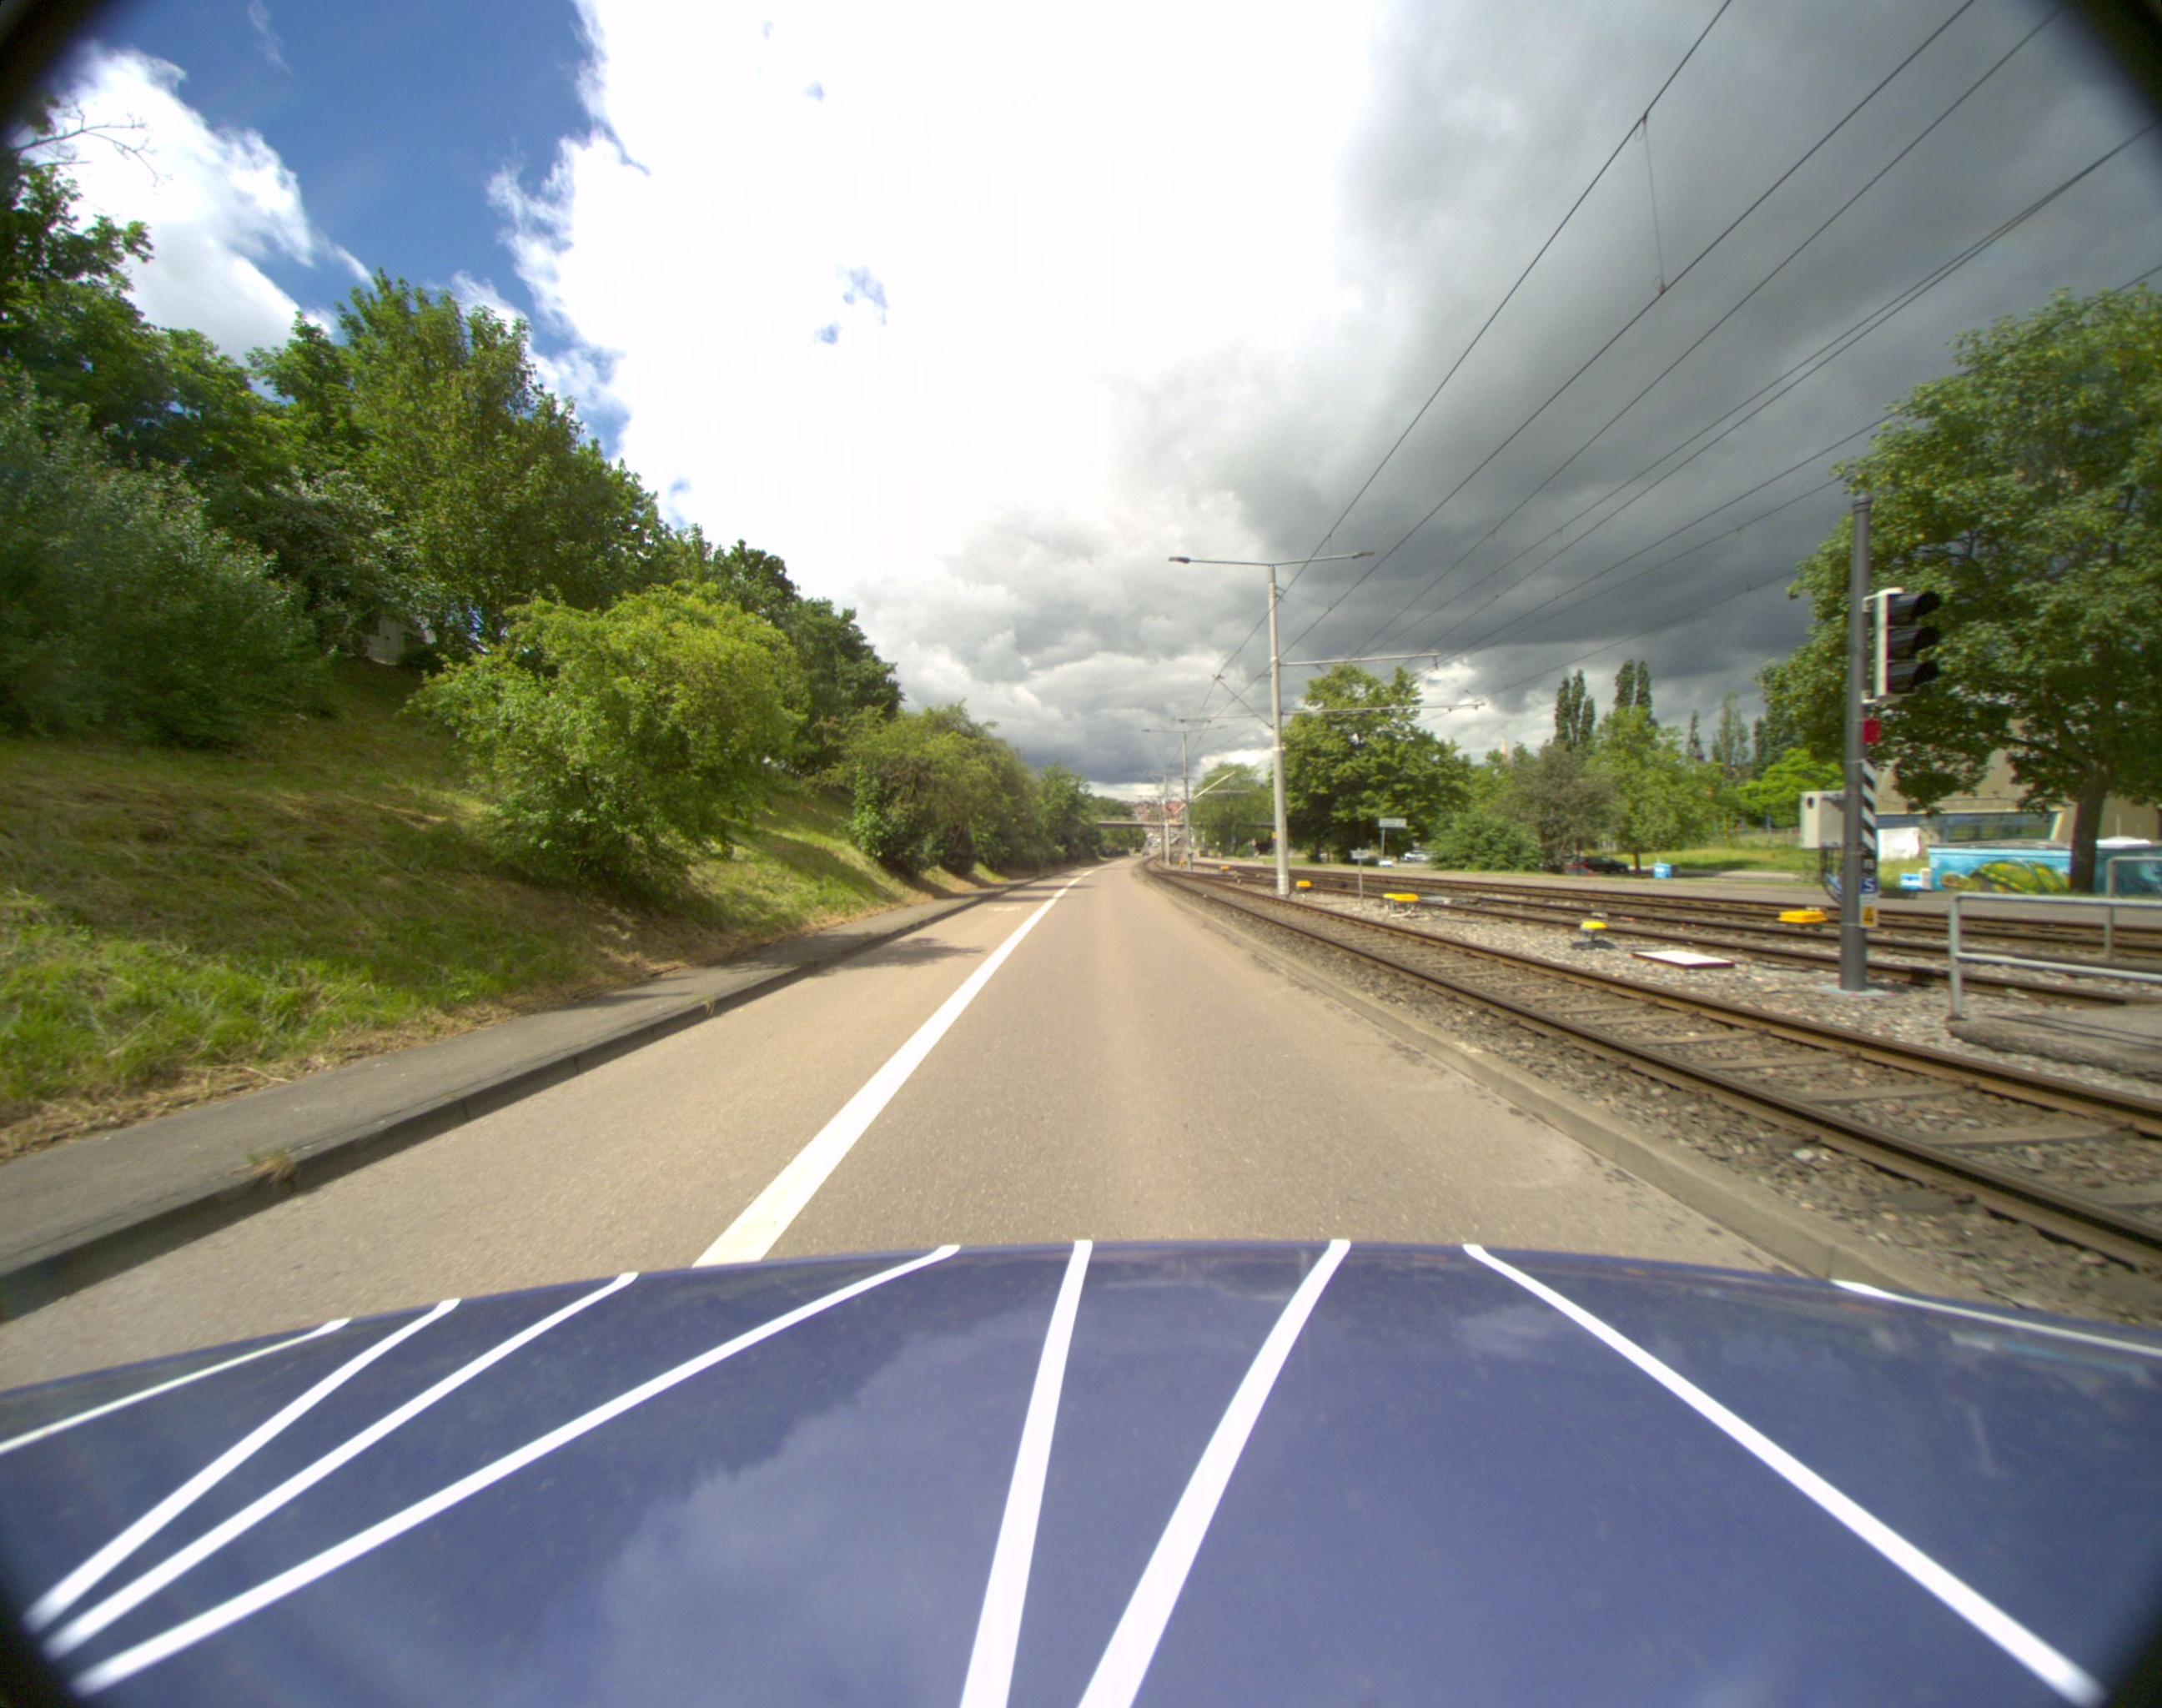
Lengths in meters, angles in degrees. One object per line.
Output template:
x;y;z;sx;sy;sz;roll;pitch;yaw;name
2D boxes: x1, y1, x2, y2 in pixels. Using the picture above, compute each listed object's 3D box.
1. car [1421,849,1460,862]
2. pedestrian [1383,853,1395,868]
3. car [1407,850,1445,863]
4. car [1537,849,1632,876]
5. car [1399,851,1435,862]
42.199;0.179;89.225;3.868;1.526;1.627;0;1;3;car
31.535;0.685;77.793;0.822;1.488;0.682;0;1;-24;pedestrian
42.348;0.323;93.372;3.868;1.526;1.627;0;1;3;car
27.189;0.439;41.172;3.928;1.401;1.761;0;1;12;car
42.763;0.292;96.624;3.868;1.412;1.627;0;0;3;car
